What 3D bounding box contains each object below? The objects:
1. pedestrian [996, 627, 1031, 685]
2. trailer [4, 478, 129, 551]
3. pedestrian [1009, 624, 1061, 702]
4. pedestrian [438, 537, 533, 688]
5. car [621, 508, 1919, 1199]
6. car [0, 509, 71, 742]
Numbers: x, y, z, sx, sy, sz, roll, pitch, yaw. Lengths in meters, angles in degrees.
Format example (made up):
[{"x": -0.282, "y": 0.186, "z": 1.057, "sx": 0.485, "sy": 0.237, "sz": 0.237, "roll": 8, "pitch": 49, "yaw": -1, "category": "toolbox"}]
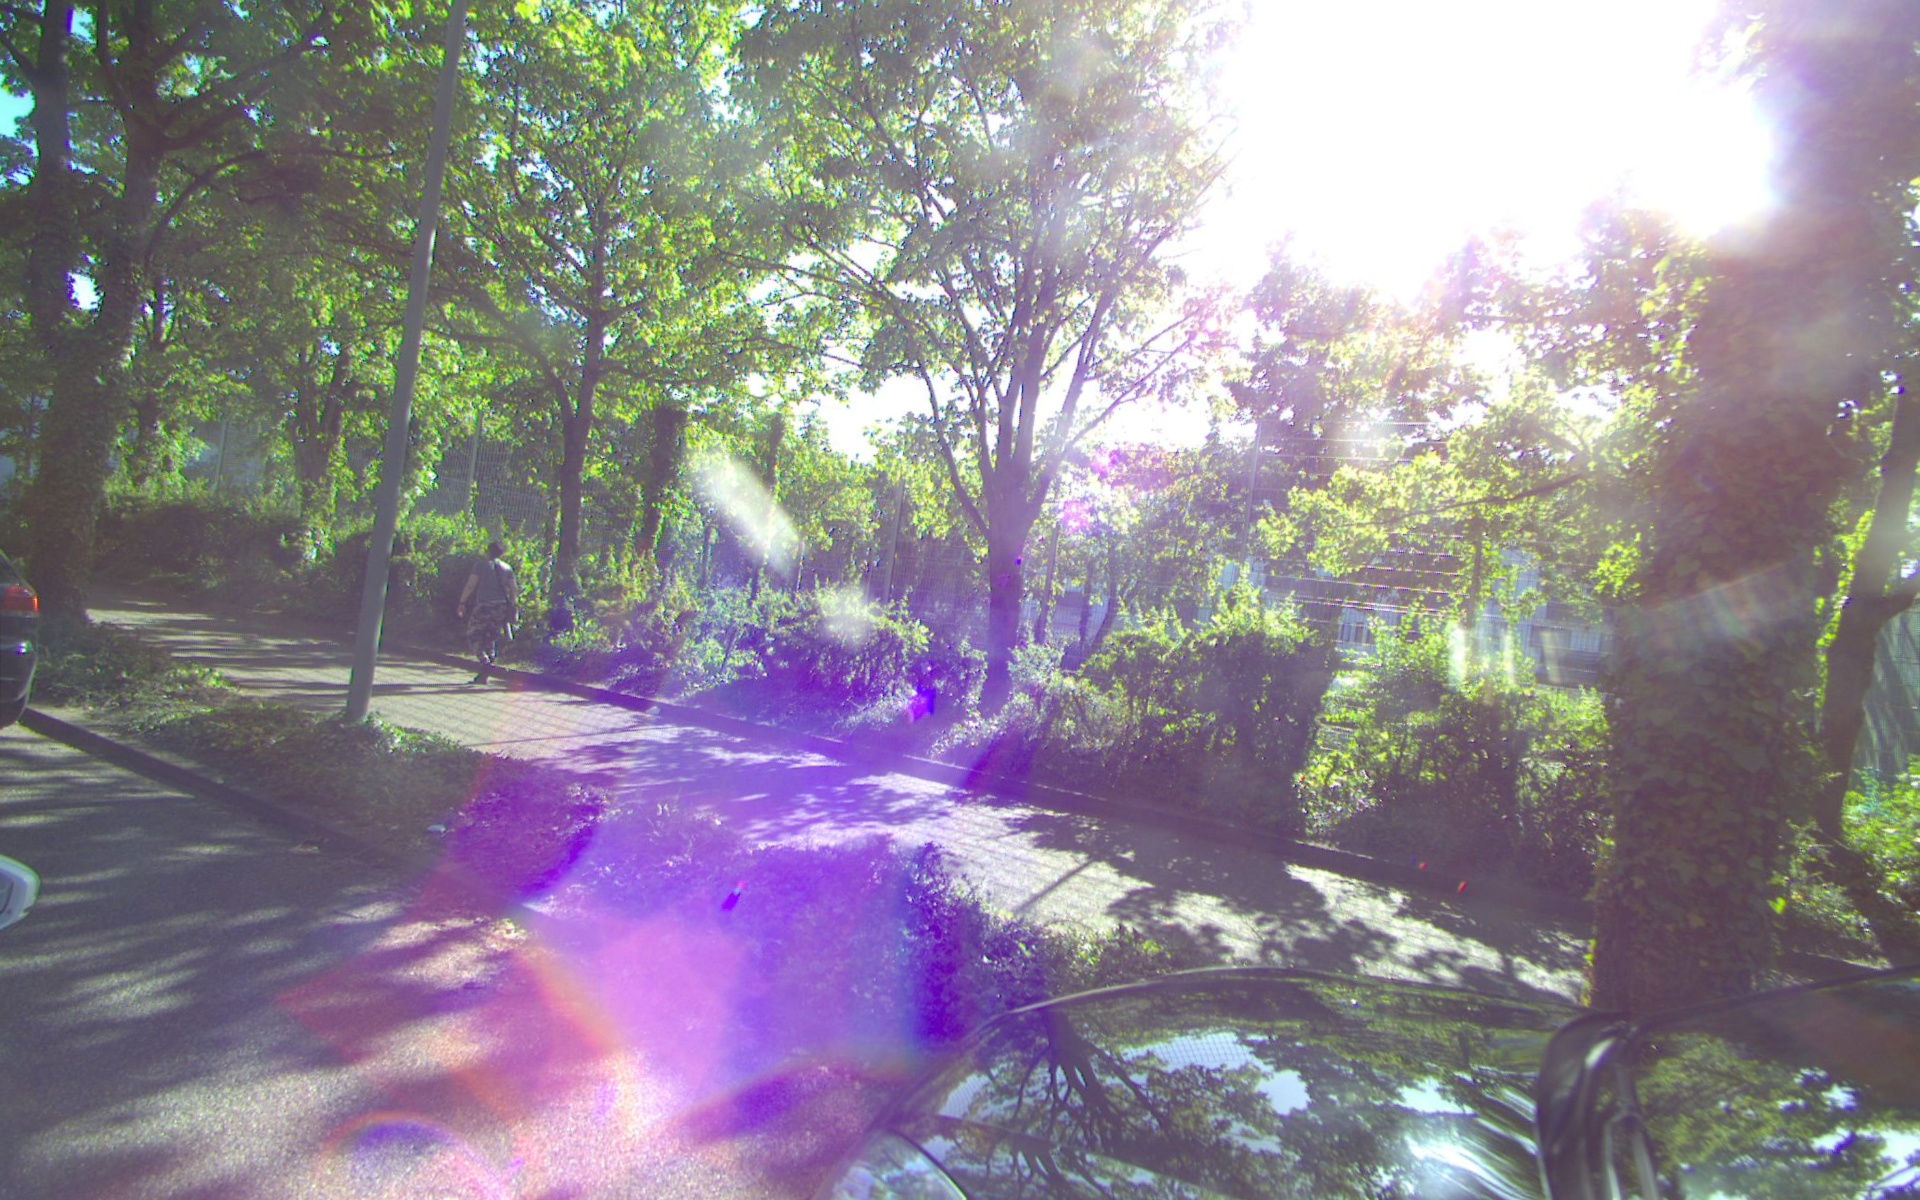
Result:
[{"x": 1.422, "y": 1.493, "z": 26.761, "sx": 0.623, "sy": 1.436, "sz": 0.505, "roll": 9, "pitch": -2, "yaw": -16, "category": "pedestrian"}, {"x": -33.398, "y": -3.168, "z": 37.665, "sx": 1.582, "sy": 2.141, "sz": 2.950, "roll": 7, "pitch": -1, "yaw": 28, "category": "trailer"}, {"x": 1.303, "y": 1.093, "z": 17.460, "sx": 0.555, "sy": 1.253, "sz": 0.543, "roll": 9, "pitch": -2, "yaw": -21, "category": "pedestrian"}, {"x": -5.467, "y": 0.143, "z": 11.589, "sx": 0.661, "sy": 1.627, "sz": 0.571, "roll": 7, "pitch": -1, "yaw": 39, "category": "pedestrian"}, {"x": 1.739, "y": 0.920, "z": 0.836, "sx": 3.964, "sy": 1.497, "sz": 1.752, "roll": 6, "pitch": -3, "yaw": 32, "category": "car"}, {"x": -7.928, "y": -0.113, "z": 6.641, "sx": 3.930, "sy": 1.436, "sz": 1.645, "roll": 7, "pitch": -2, "yaw": 27, "category": "car"}]
